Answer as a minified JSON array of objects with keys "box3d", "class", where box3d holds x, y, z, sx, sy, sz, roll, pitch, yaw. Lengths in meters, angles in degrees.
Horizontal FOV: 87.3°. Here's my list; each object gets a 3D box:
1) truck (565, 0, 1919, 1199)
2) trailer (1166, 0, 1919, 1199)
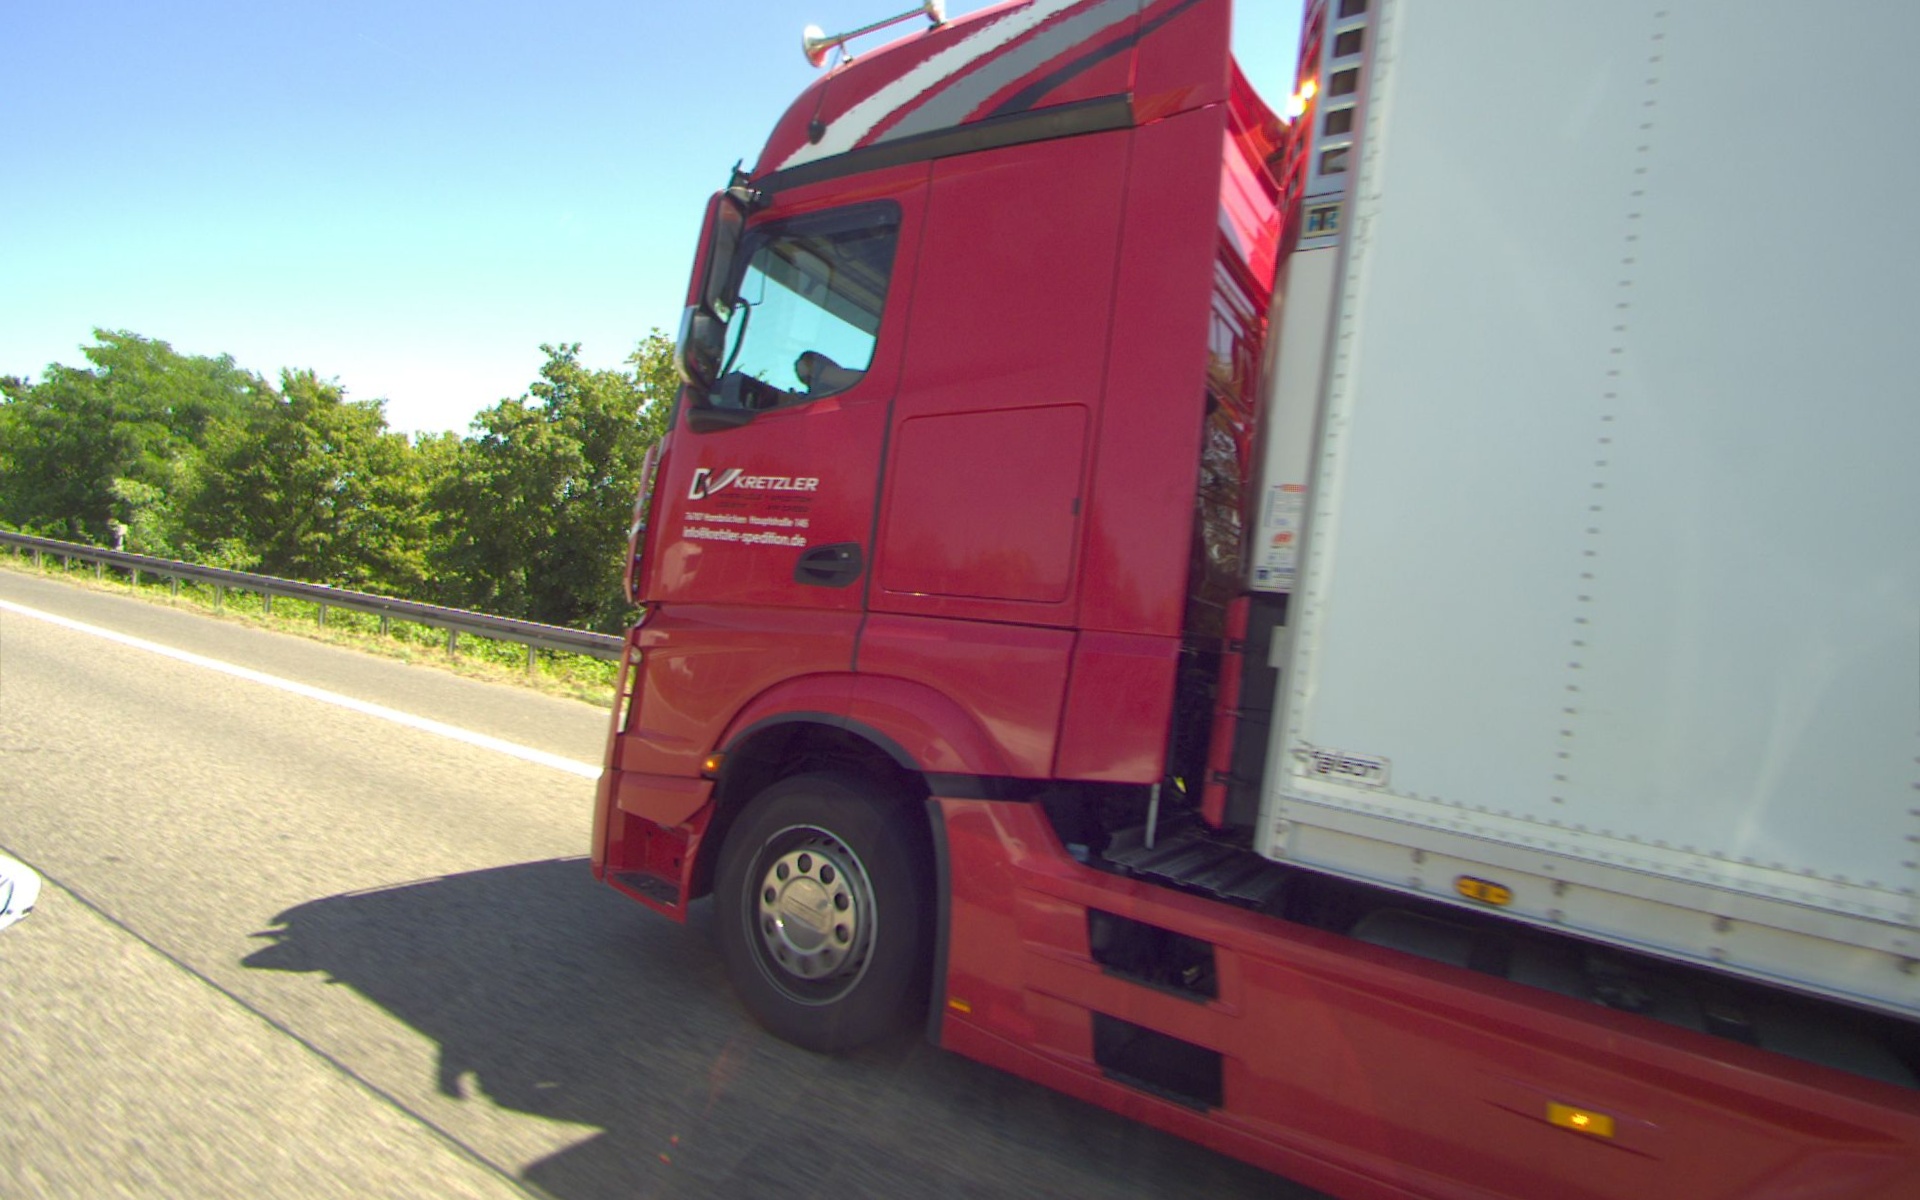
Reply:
[{"box3d":[2.512,-0.587,3.375,6.857,4.948,3.239,7,0,32],"class":"truck"},{"box3d":[7.451,0.002,0.226,13.797,4.896,3.274,7,0,32],"class":"trailer"}]
